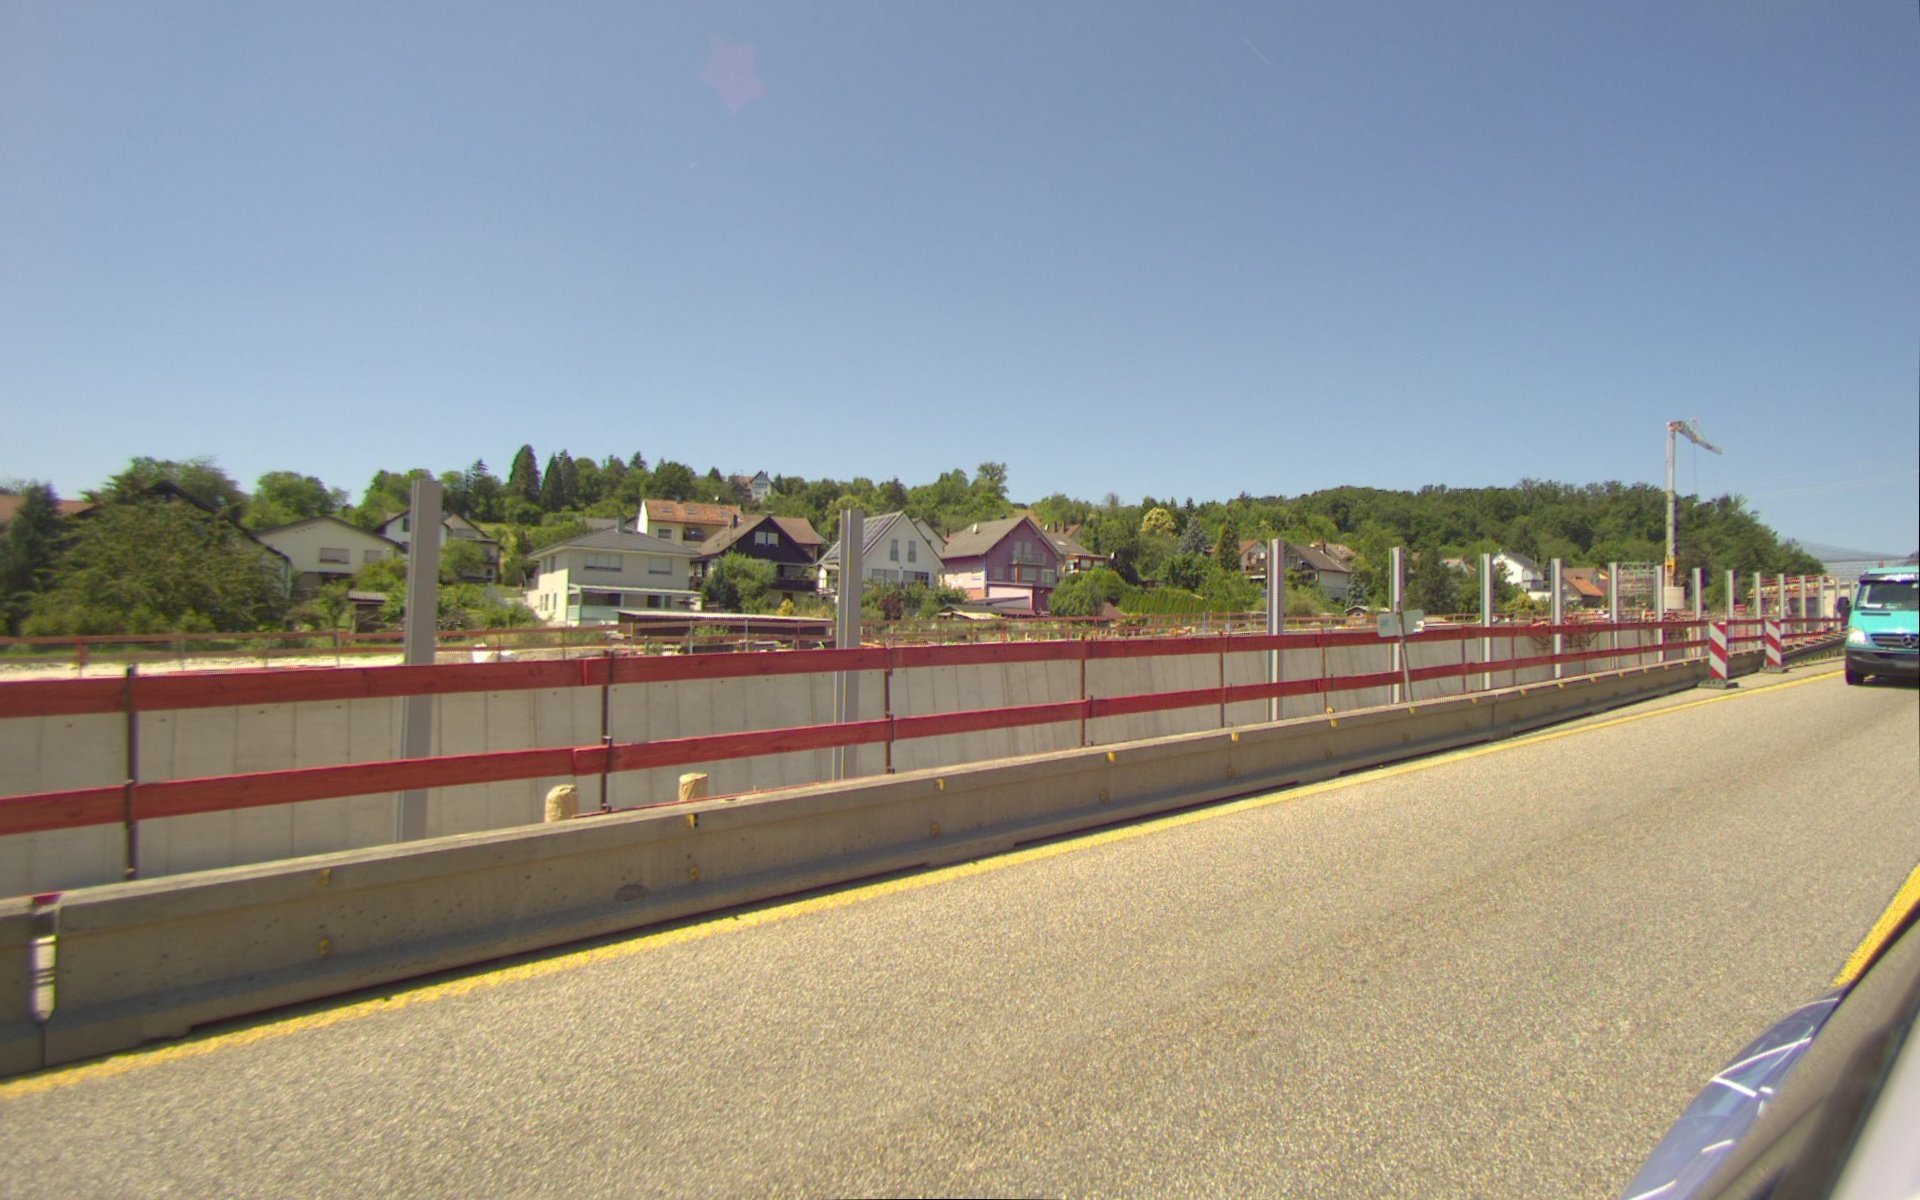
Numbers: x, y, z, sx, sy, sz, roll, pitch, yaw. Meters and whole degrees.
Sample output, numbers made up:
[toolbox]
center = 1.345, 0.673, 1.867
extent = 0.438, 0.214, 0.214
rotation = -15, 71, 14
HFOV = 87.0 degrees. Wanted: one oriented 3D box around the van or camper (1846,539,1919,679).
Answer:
[van or camper]
center = 19.964, 0.191, 20.442
extent = 7.536, 2.504, 2.096
rotation = 1, -1, -41
